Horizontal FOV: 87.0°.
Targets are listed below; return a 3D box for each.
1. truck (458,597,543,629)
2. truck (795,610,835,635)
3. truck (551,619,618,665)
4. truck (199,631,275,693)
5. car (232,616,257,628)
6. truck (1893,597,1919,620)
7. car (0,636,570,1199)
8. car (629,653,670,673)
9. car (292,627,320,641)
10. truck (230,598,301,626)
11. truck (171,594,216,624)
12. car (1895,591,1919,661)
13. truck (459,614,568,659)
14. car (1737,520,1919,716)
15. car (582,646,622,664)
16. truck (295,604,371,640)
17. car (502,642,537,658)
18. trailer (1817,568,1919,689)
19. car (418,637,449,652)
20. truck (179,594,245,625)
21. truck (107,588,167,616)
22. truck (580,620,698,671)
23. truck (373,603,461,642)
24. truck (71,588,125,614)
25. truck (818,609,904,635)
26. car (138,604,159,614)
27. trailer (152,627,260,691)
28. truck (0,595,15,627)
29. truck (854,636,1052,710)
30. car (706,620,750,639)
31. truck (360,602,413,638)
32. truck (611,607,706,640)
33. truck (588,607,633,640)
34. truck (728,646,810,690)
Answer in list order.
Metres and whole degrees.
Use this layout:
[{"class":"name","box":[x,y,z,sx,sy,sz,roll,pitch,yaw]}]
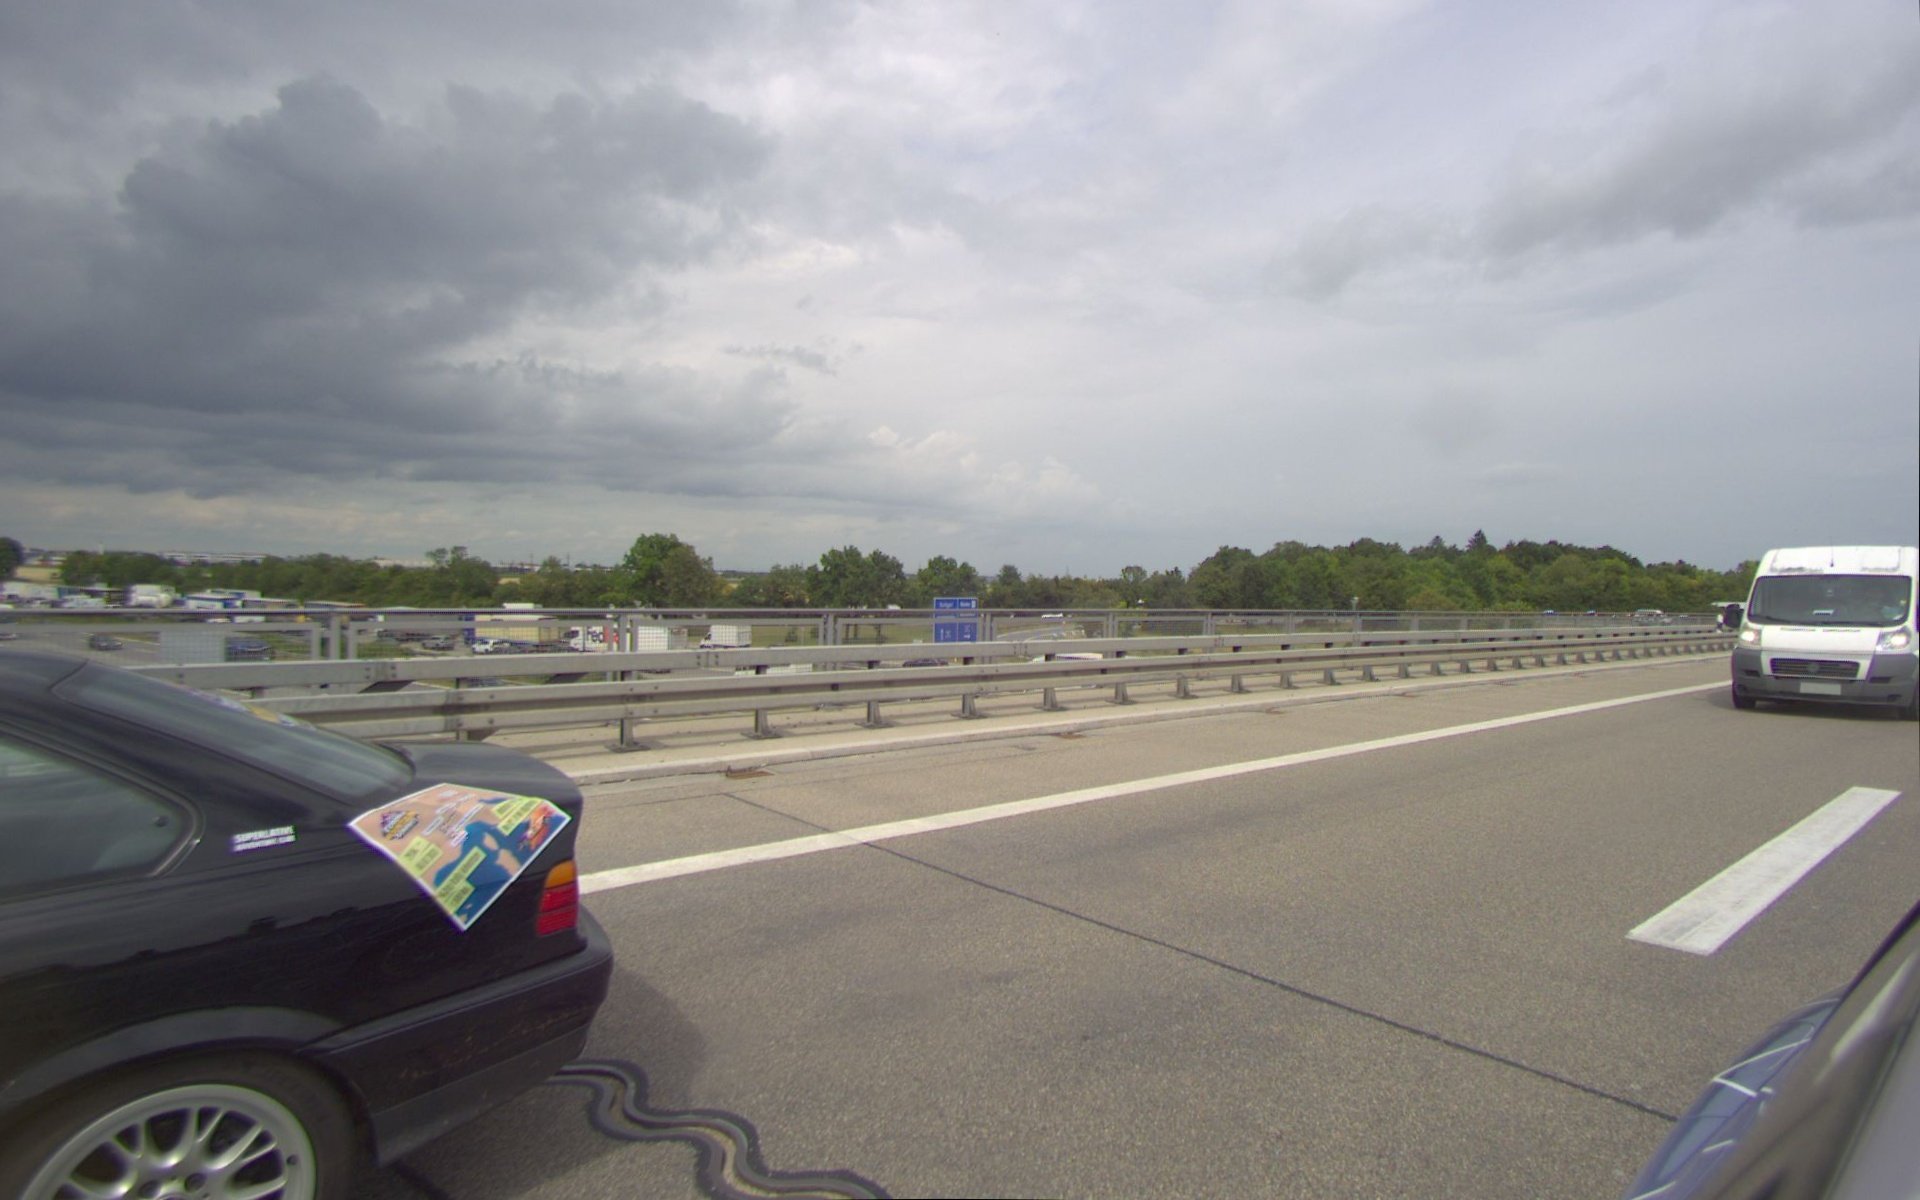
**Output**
[{"class":"truck","box":[-76.490,2.188,168.558,12.779,5.105,3.943,1,-1,7]},{"class":"truck","box":[-24.641,3.781,172.032,6.307,4.240,3.169,0,0,-19]},{"class":"truck","box":[-40.055,4.417,107.988,6.254,4.568,3.881,0,-1,36]},{"class":"truck","box":[-55.456,4.685,77.591,5.580,4.340,3.091,1,0,36]},{"class":"car","box":[-98.398,2.973,139.148,3.976,1.505,1.715,1,0,36]},{"class":"truck","box":[169.133,1.614,175.364,11.587,3.908,2.842,1,-1,6]},{"class":"car","box":[-3.049,0.742,1.511,4.286,1.297,1.708,1,-1,-39]},{"class":"car","box":[-29.307,5.890,95.438,3.975,1.575,1.651,2,0,36]},{"class":"car","box":[-82.718,4.269,128.061,3.975,1.575,1.651,2,0,36]},{"class":"truck","box":[-105.300,1.765,153.255,14.800,4.083,4.090,1,-1,36]},{"class":"truck","box":[-128.216,1.508,169.288,6.451,4.798,4.024,1,-1,33]},{"class":"car","box":[26.757,0.717,27.188,3.929,1.817,1.997,1,-1,-41]},{"class":"truck","box":[-51.826,4.108,117.109,16.264,4.612,3.956,1,-1,36]},{"class":"car","box":[13.860,0.270,15.518,6.047,2.485,2.116,1,-1,-43]},{"class":"car","box":[-35.201,5.385,99.480,3.976,1.505,1.715,1,0,37]},{"class":"truck","box":[-88.199,2.987,142.193,15.220,4.612,3.954,0,-1,38]},{"class":"car","box":[-46.766,5.273,107.400,3.976,1.505,1.715,1,0,37]},{"class":"trailer","box":[17.710,0.520,18.960,4.550,2.039,1.858,1,-1,-41]},{"class":"car","box":[-60.911,5.117,117.083,3.977,1.505,1.715,1,0,37]},{"class":"truck","box":[-122.208,1.540,165.185,14.385,4.883,4.036,1,-1,34]},{"class":"truck","box":[-146.208,0.279,179.707,15.251,4.883,4.035,1,-1,35]},{"class":"truck","box":[-32.747,4.475,102.716,13.703,4.612,3.957,0,-1,36]},{"class":"truck","box":[-69.367,2.722,129.128,14.797,4.612,3.955,0,-1,37]},{"class":"truck","box":[-165.047,0.140,193.675,15.251,4.883,4.035,1,-1,35]},{"class":"truck","box":[-16.975,3.808,174.792,14.422,4.142,3.092,1,-1,-20]},{"class":"car","box":[-135.914,1.466,169.568,3.974,1.505,1.716,1,0,35]},{"class":"trailer","box":[-61.114,4.610,81.819,13.869,4.340,3.091,1,0,37]},{"class":"truck","box":[-114.149,1.265,119.570,5.130,3.726,2.467,2,0,34]},{"class":"truck","box":[-0.821,5.531,79.454,16.049,4.759,3.948,1,0,32]},{"class":"car","box":[-26.439,3.294,115.270,4.635,2.039,2.158,1,-1,32]},{"class":"truck","box":[-75.810,2.648,133.729,6.255,4.568,3.881,0,-1,36]},{"class":"truck","box":[-49.481,3.839,166.427,14.555,5.281,3.866,1,-1,-7]},{"class":"truck","box":[-57.063,3.810,165.482,6.312,5.381,3.864,0,0,-7]},{"class":"truck","box":[-16.119,5.674,85.005,7.520,3.238,2.203,0,-1,36]}]
